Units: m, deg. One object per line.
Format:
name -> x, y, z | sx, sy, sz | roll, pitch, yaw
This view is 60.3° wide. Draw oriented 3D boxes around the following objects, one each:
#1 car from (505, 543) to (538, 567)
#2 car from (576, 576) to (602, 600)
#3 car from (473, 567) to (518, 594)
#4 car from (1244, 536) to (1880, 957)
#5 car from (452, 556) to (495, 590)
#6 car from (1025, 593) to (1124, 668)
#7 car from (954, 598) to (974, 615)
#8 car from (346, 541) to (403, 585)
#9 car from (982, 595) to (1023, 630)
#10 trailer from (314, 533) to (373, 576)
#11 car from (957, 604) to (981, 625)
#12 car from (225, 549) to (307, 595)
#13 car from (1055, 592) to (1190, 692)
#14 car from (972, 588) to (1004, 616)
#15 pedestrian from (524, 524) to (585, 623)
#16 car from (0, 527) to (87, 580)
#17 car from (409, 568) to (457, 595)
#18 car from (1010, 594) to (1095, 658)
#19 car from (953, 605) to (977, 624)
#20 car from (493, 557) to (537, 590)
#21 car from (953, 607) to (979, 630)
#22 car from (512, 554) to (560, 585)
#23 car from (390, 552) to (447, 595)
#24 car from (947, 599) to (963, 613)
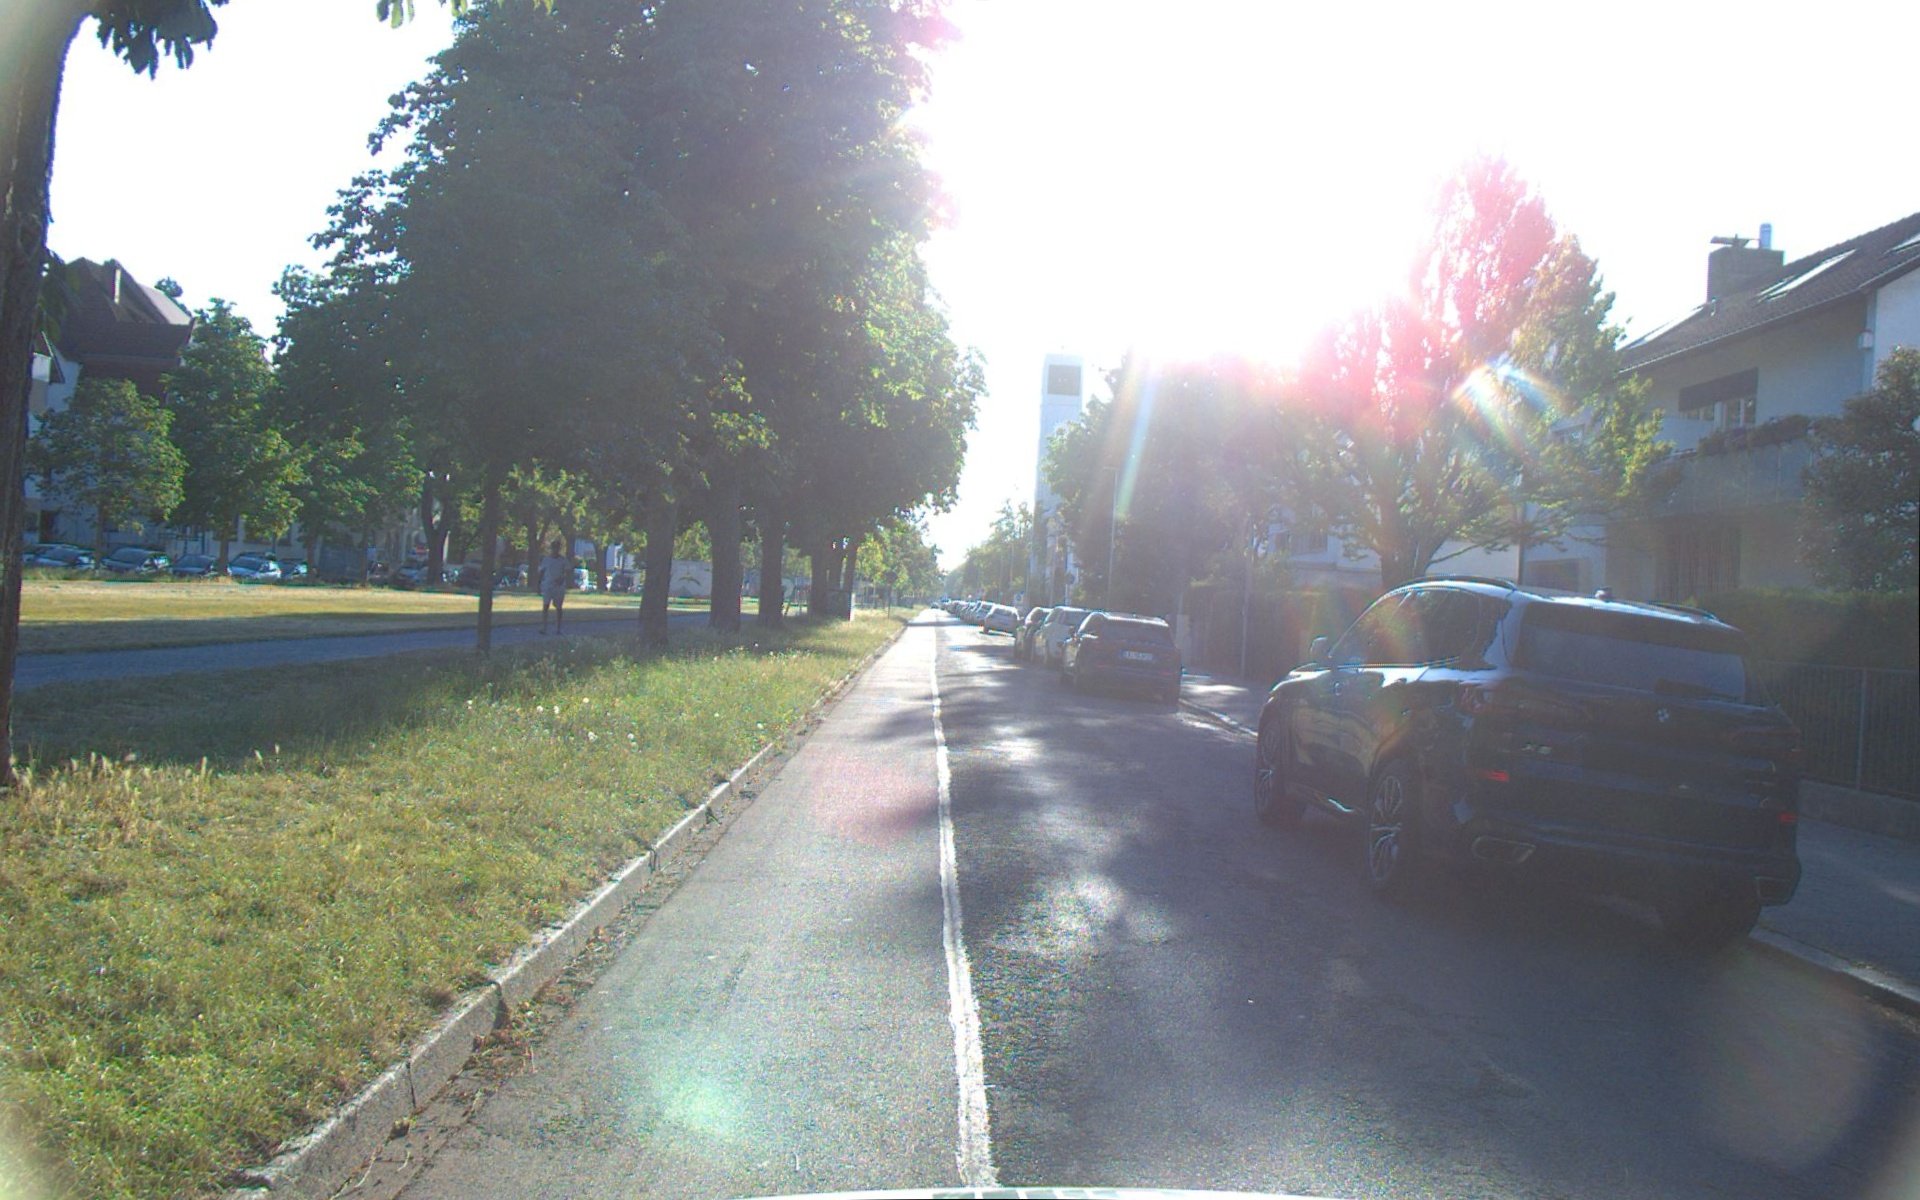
car -> -42.932, -4.421, 161.933 | 1.953, 2.049, 4.483 | -3, -1, -1
car -> -41.780, -1.330, 186.433 | 1.953, 2.452, 4.362 | 2, -1, -1
car -> -34.928, -1.467, 124.483 | 1.953, 1.824, 4.484 | 4, -1, 0
car -> 3.263, 0.715, 10.232 | 1.954, 1.767, 4.863 | 7, -1, -1
car -> -34.909, -1.941, 118.802 | 1.651, 2.213, 4.314 | 4, 0, 0
car -> 2.729, 0.707, 40.208 | 1.659, 1.508, 3.925 | 8, -1, -5
car -> 0.446, 0.674, 173.009 | 1.953, 1.658, 4.000 | 4, -1, 0
car -> -40.358, -2.531, 114.214 | 1.953, 2.719, 5.186 | 4, -1, 0
car -> 2.079, 0.630, 82.524 | 1.723, 1.443, 4.071 | 10, -1, 0
trailer -> -40.227, -2.926, 108.035 | 1.953, 2.470, 4.723 | 4, -1, 0
car -> 0.712, 1.235, 136.611 | 1.726, 1.547, 3.998 | 5, -1, -2
car -> -33.404, -1.333, 79.735 | 1.953, 1.892, 4.255 | 4, -1, 0
car -> 2.846, 0.742, 29.907 | 1.757, 1.518, 4.672 | 5, -1, -1
car -> 1.767, 0.120, 105.802 | 1.723, 1.633, 4.357 | 4, -1, -2
pedestrian -> -7.628, -0.492, 31.137 | 0.709, 1.788, 0.993 | 4, 0, 5
car -> -40.044, -1.985, 71.863 | 1.990, 2.049, 3.999 | 2, -1, 0
car -> -34.549, -1.187, 108.502 | 1.650, 1.587, 4.314 | 4, -1, 0
car -> 2.473, 0.690, 45.213 | 1.715, 1.502, 4.285 | 6, -1, -4
car -> 0.439, 1.296, 147.035 | 1.953, 1.489, 4.000 | 4, -1, 0
car -> -34.996, -2.052, 130.198 | 1.953, 2.289, 5.185 | 4, -1, -1
car -> 0.405, 1.418, 126.275 | 1.723, 1.633, 4.357 | 4, -1, -2
car -> -35.142, -2.525, 137.123 | 2.483, 2.275, 5.458 | 3, 0, -1
car -> -40.749, -1.974, 124.661 | 2.388, 2.973, 5.816 | 2, -1, -1
car -> -0.645, 0.762, 207.575 | 1.940, 1.712, 4.000 | 4, -1, 0
